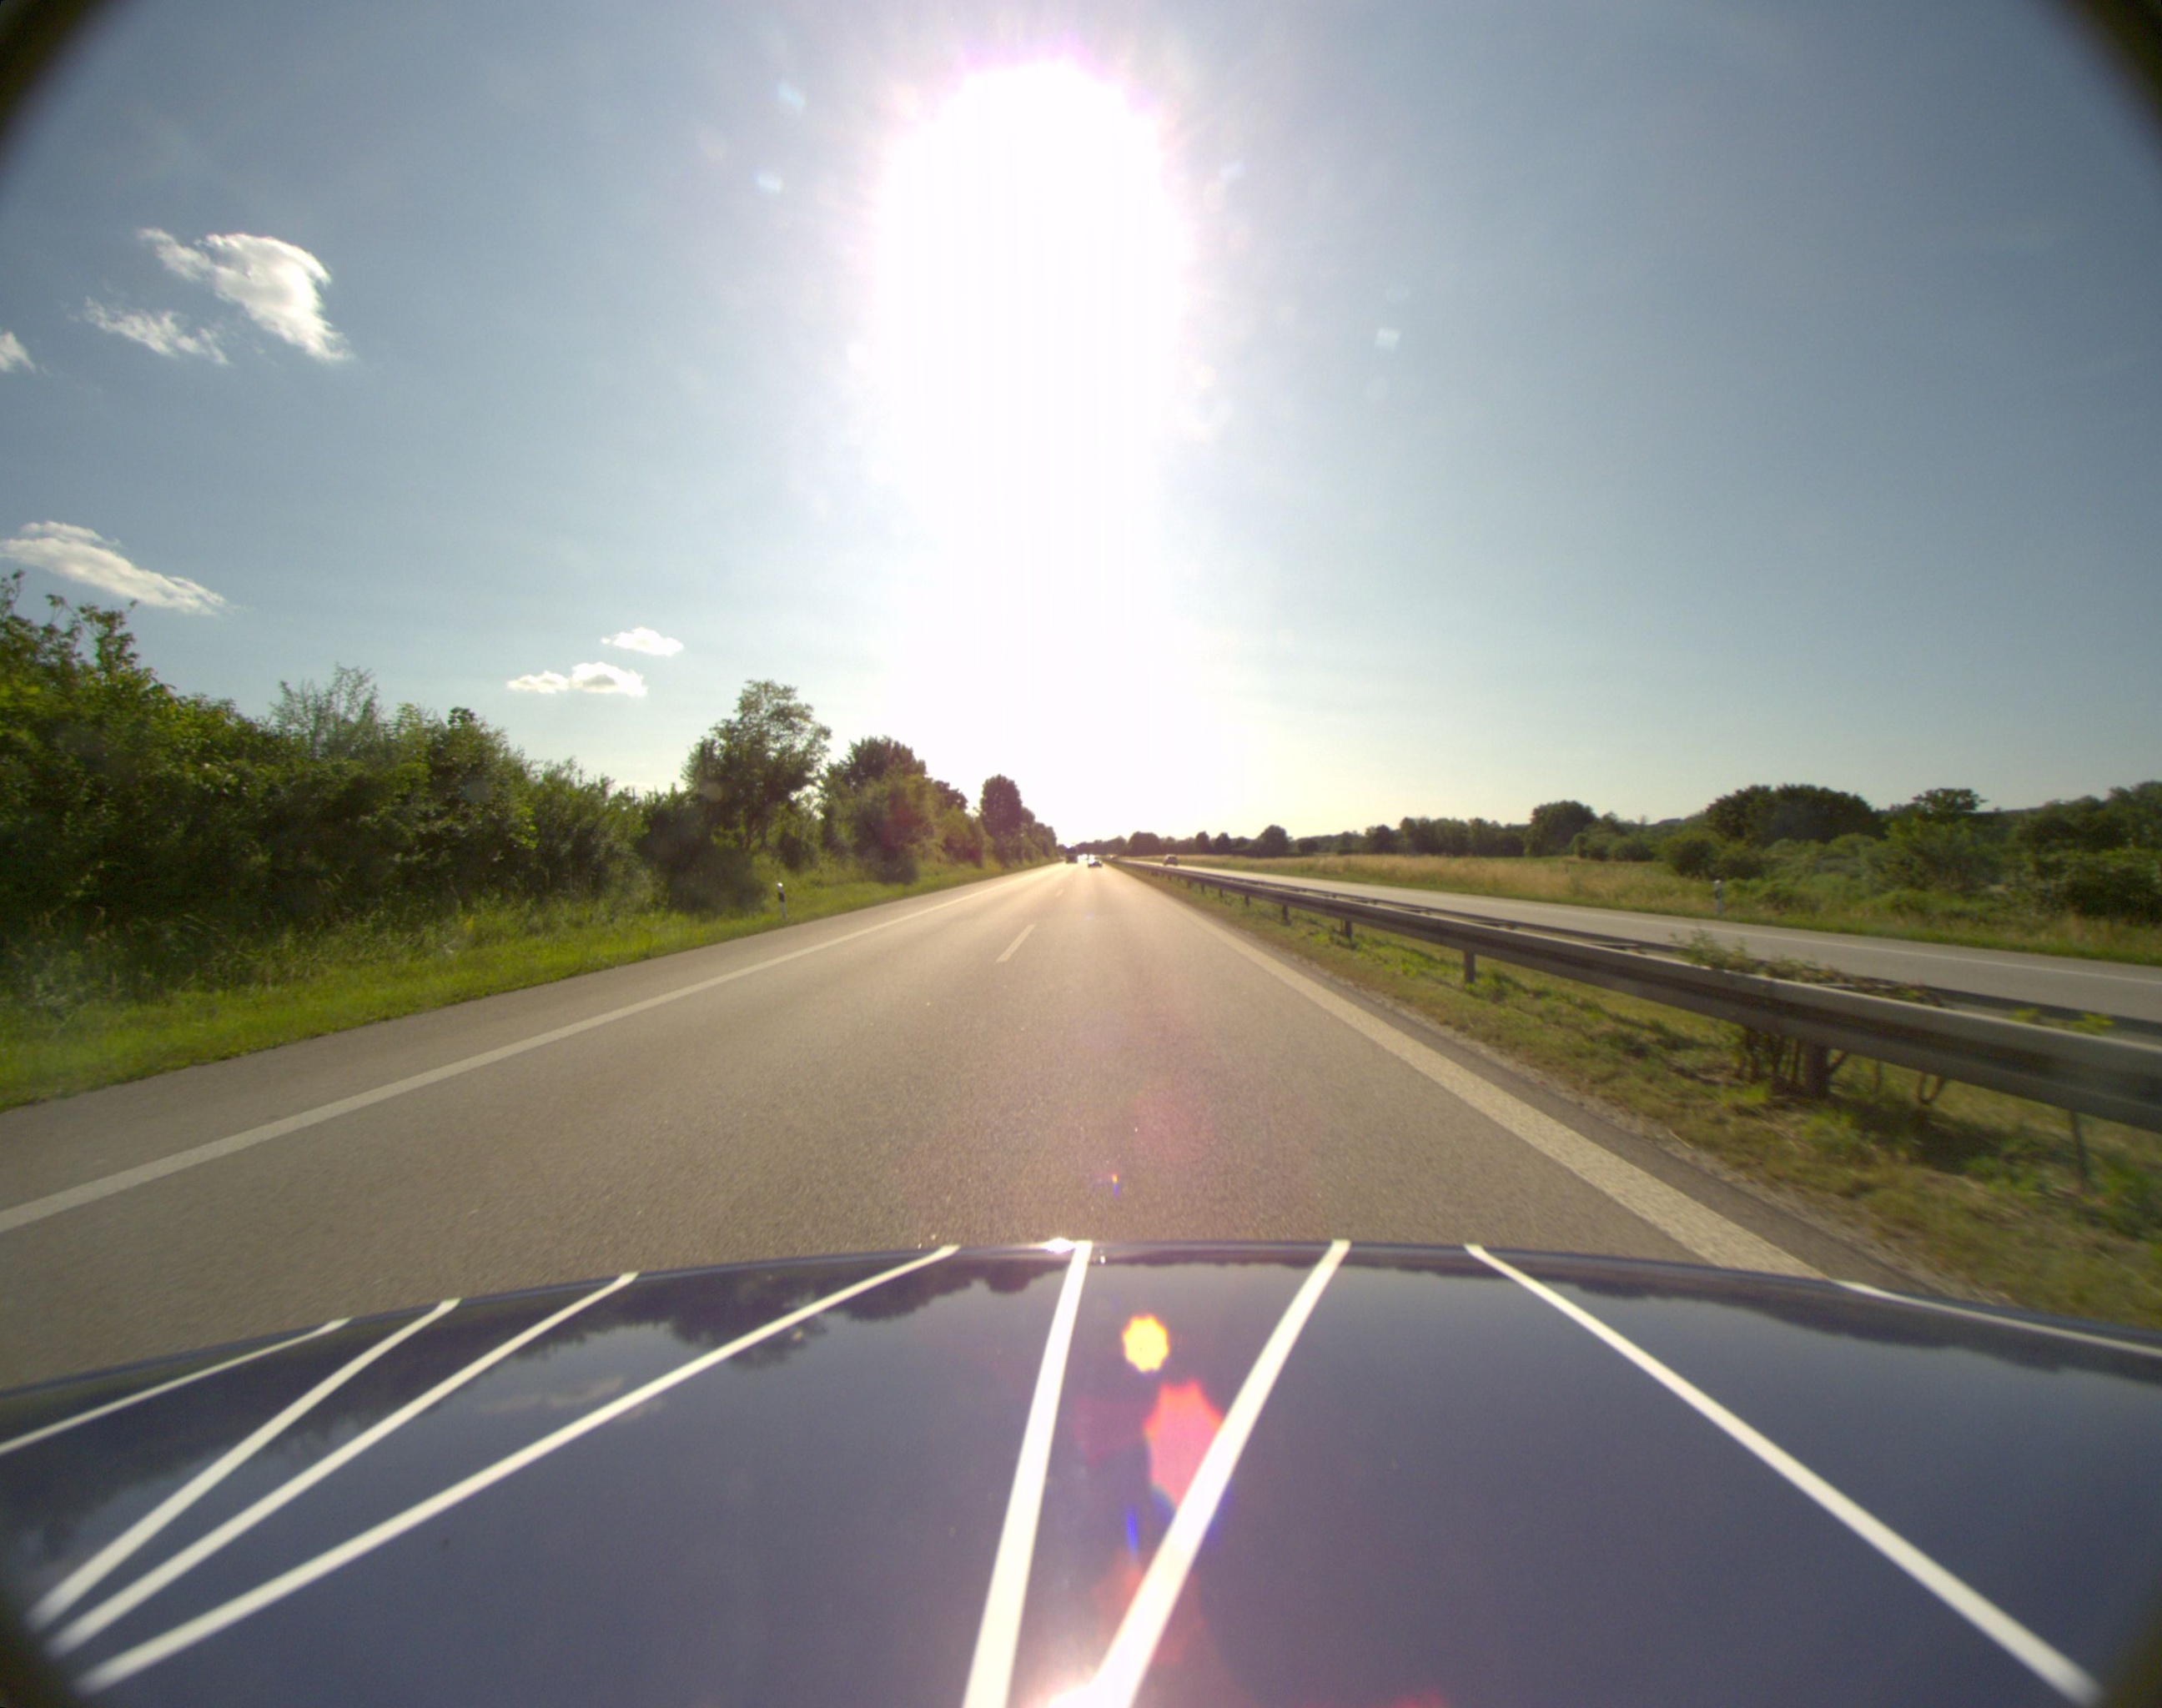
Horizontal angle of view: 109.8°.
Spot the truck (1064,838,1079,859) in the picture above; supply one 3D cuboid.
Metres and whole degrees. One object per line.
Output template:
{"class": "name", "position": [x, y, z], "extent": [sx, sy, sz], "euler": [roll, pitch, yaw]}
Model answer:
{"class": "truck", "position": [-1.901, -1.151, 158.922], "extent": [2.759, 4.242, 8.492], "euler": [-2, 1, 1]}

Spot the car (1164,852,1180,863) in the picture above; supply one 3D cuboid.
{"class": "car", "position": [13.687, 0.484, 114.081], "extent": [1.907, 1.673, 4.731], "euler": [0, 1, 1]}

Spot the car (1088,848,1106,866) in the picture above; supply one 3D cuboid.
{"class": "car", "position": [1.952, 0.354, 92.813], "extent": [1.998, 2.002, 4.358], "euler": [-2, 1, 1]}
